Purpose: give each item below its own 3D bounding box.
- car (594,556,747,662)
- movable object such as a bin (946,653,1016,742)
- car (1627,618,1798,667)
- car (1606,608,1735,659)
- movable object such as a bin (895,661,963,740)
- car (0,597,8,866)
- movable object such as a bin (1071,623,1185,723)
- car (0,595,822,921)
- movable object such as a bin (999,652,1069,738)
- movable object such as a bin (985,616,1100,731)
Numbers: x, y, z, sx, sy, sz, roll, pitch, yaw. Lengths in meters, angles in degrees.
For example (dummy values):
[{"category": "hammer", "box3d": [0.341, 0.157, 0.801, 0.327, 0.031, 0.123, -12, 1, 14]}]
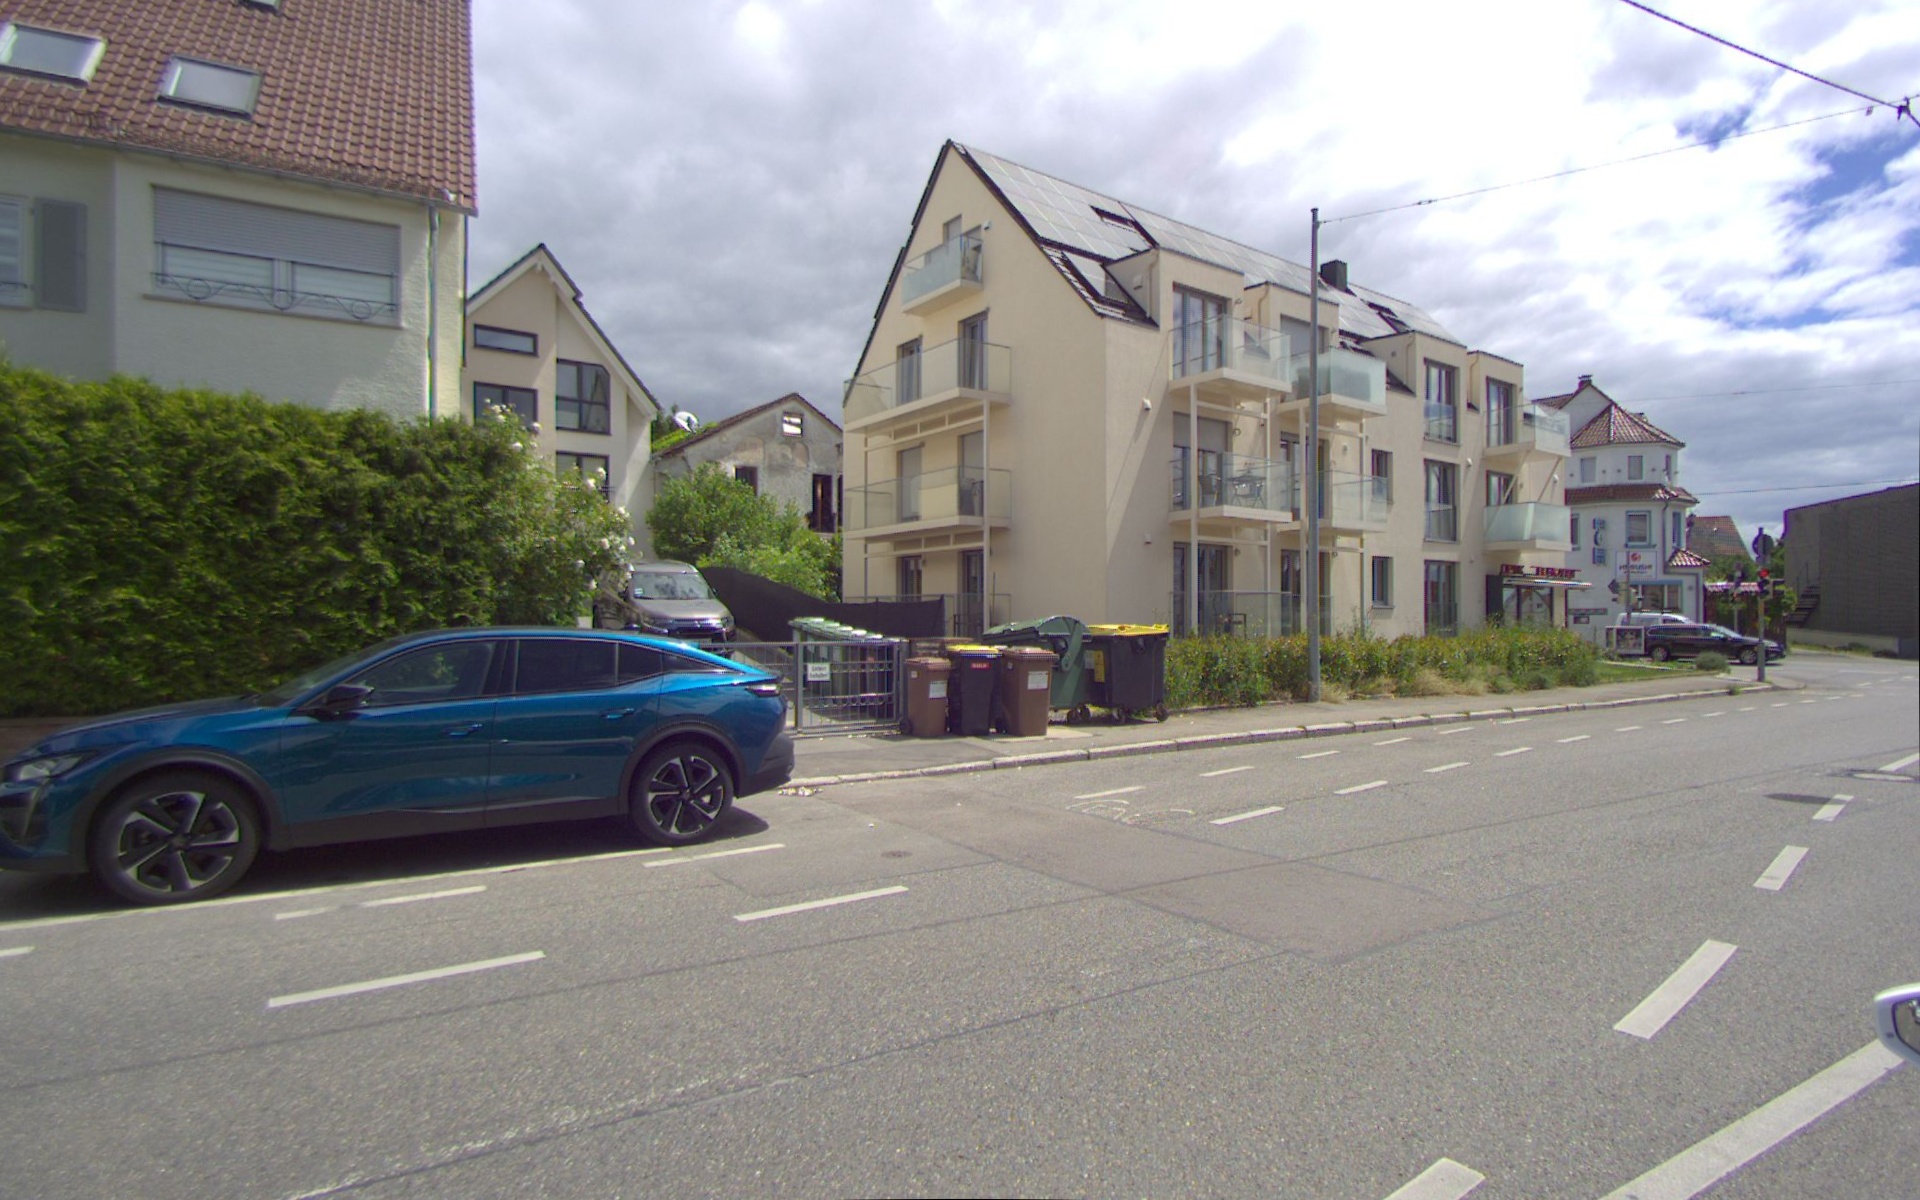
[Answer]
[{"category": "car", "box3d": [-5.430, 0.139, 18.505, 1.783, 1.729, 3.967, 1, 0, -30]}, {"category": "movable object such as a bin", "box3d": [0.251, 1.180, 12.346, 0.651, 1.037, 0.593, 1, -1, -30]}, {"category": "car", "box3d": [28.438, 1.560, 38.104, 1.982, 1.598, 4.860, 1, 0, -37]}, {"category": "car", "box3d": [29.511, 1.356, 41.805, 1.984, 1.873, 4.024, 1, 0, -41]}, {"category": "movable object such as a bin", "box3d": [-0.378, 1.195, 12.143, 0.607, 0.891, 0.593, 1, -1, -30]}, {"category": "car", "box3d": [-7.419, 0.760, 4.293, 4.464, 1.672, 1.984, 1, -2, -31]}, {"category": "movable object such as a bin", "box3d": [2.366, 0.995, 14.191, 1.199, 1.330, 1.061, 1, -1, -29]}, {"category": "car", "box3d": [-3.404, 0.841, 6.978, 4.439, 1.608, 1.983, 1, -2, -32]}, {"category": "movable object such as a bin", "box3d": [0.923, 1.164, 12.501, 0.651, 1.020, 0.593, 1, -1, -30]}, {"category": "movable object such as a bin", "box3d": [1.136, 0.973, 13.863, 1.201, 1.501, 1.059, 1, -1, -32]}]
